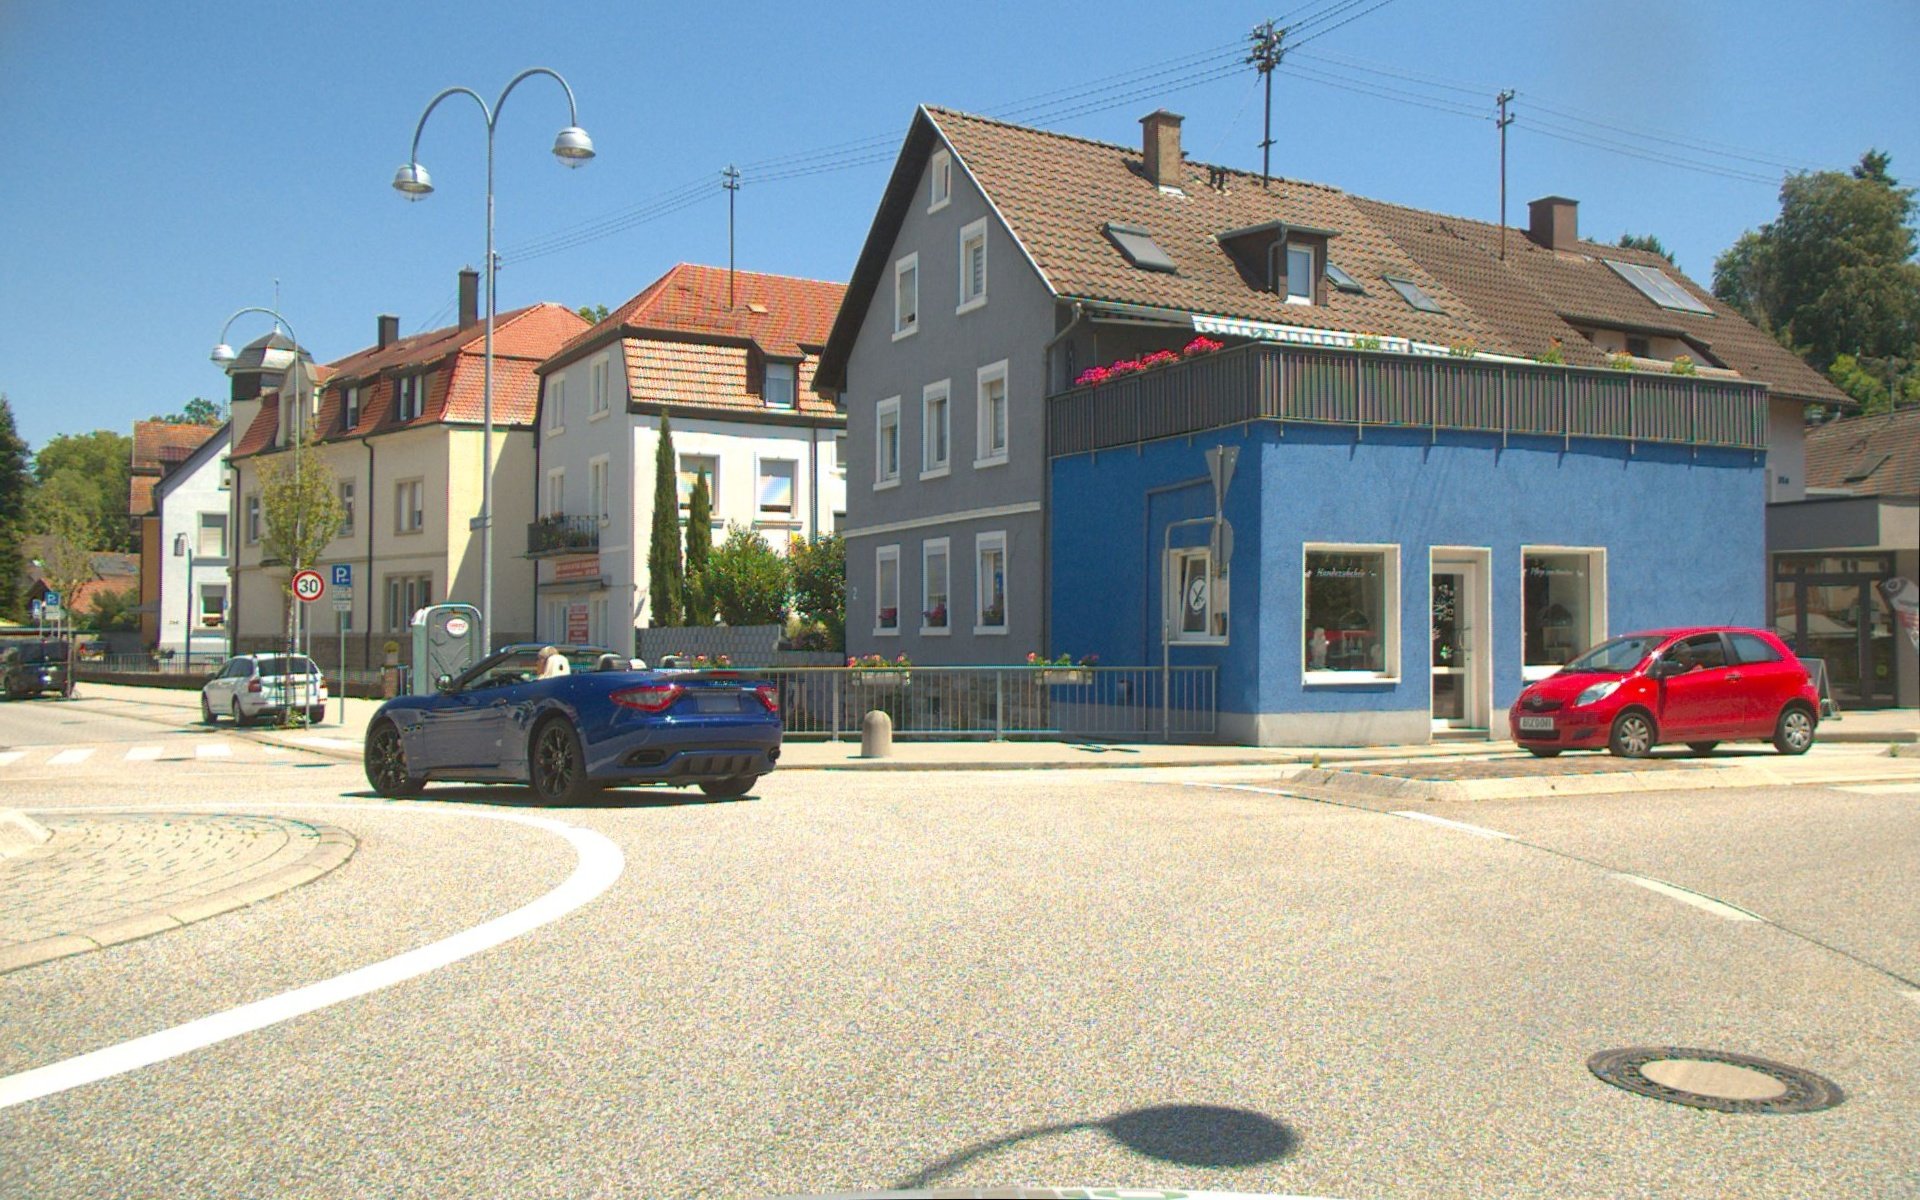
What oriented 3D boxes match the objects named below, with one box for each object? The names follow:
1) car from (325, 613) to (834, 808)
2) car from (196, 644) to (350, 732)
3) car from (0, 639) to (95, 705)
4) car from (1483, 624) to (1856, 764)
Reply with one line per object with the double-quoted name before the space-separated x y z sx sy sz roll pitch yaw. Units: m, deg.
"car" -3.397 0.960 14.289 4.540 1.423 1.972 -4 -5 40
"car" -14.781 1.841 35.475 1.980 1.611 4.229 -5 1 -37
"car" -29.554 2.292 53.071 1.985 1.898 4.216 3 -1 -45
"car" 8.538 1.101 19.970 3.927 1.560 1.824 0 -3 -19
